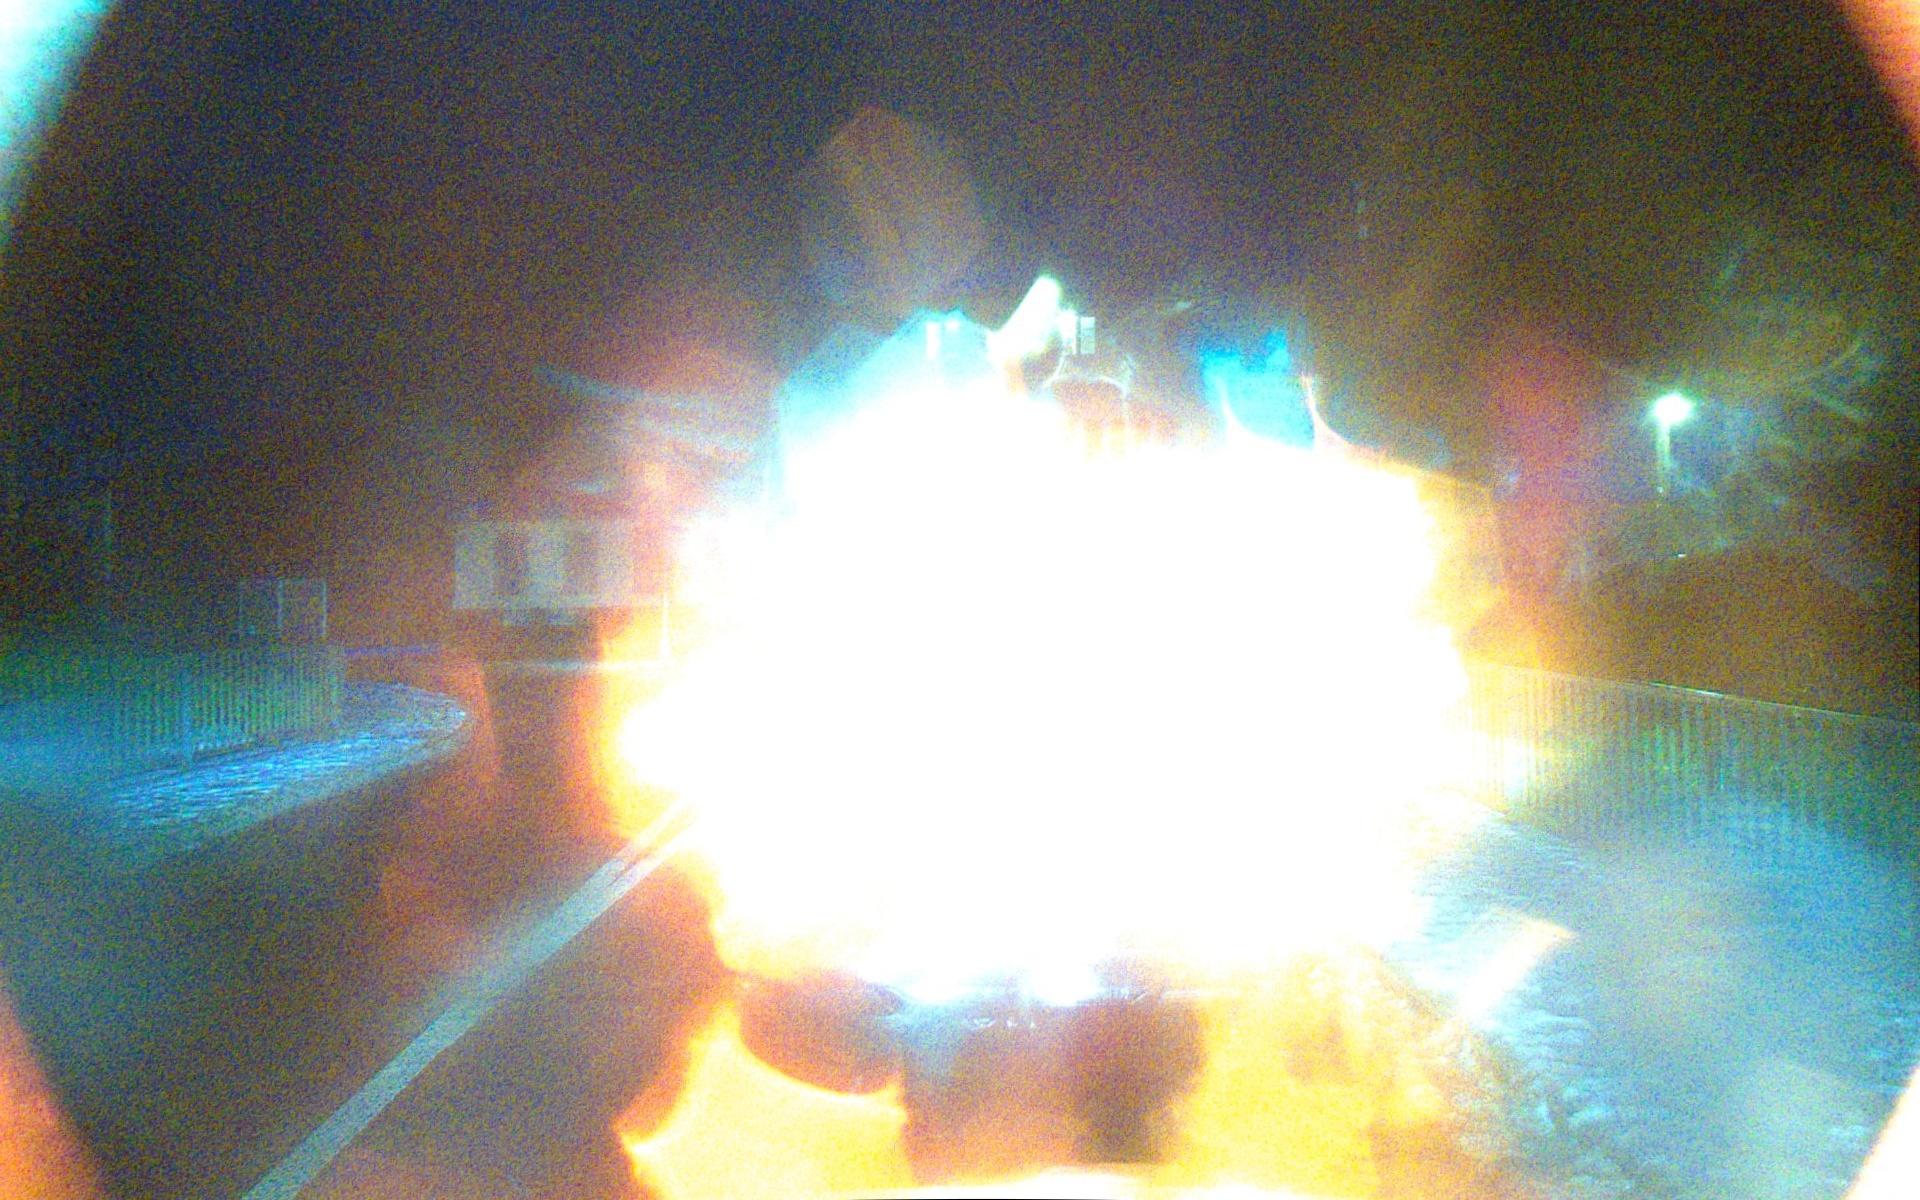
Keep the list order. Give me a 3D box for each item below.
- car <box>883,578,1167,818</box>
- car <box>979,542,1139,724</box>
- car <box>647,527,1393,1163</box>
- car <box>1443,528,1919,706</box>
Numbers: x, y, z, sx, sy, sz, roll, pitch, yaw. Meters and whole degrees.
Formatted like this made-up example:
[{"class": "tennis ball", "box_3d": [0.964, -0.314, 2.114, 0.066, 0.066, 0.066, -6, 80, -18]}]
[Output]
[{"class": "car", "box_3d": [0.435, 0.640, 13.357, 1.871, 1.536, 4.241, -3, 1, 0]}, {"class": "car", "box_3d": [1.344, 0.327, 21.178, 1.734, 1.980, 4.258, 4, 2, 5]}, {"class": "car", "box_3d": [0.139, 0.656, 6.534, 2.016, 1.707, 4.138, 0, 0, -1]}, {"class": "car", "box_3d": [7.669, 0.171, 18.041, 4.372, 1.613, 1.941, -3, 1, 10]}]
